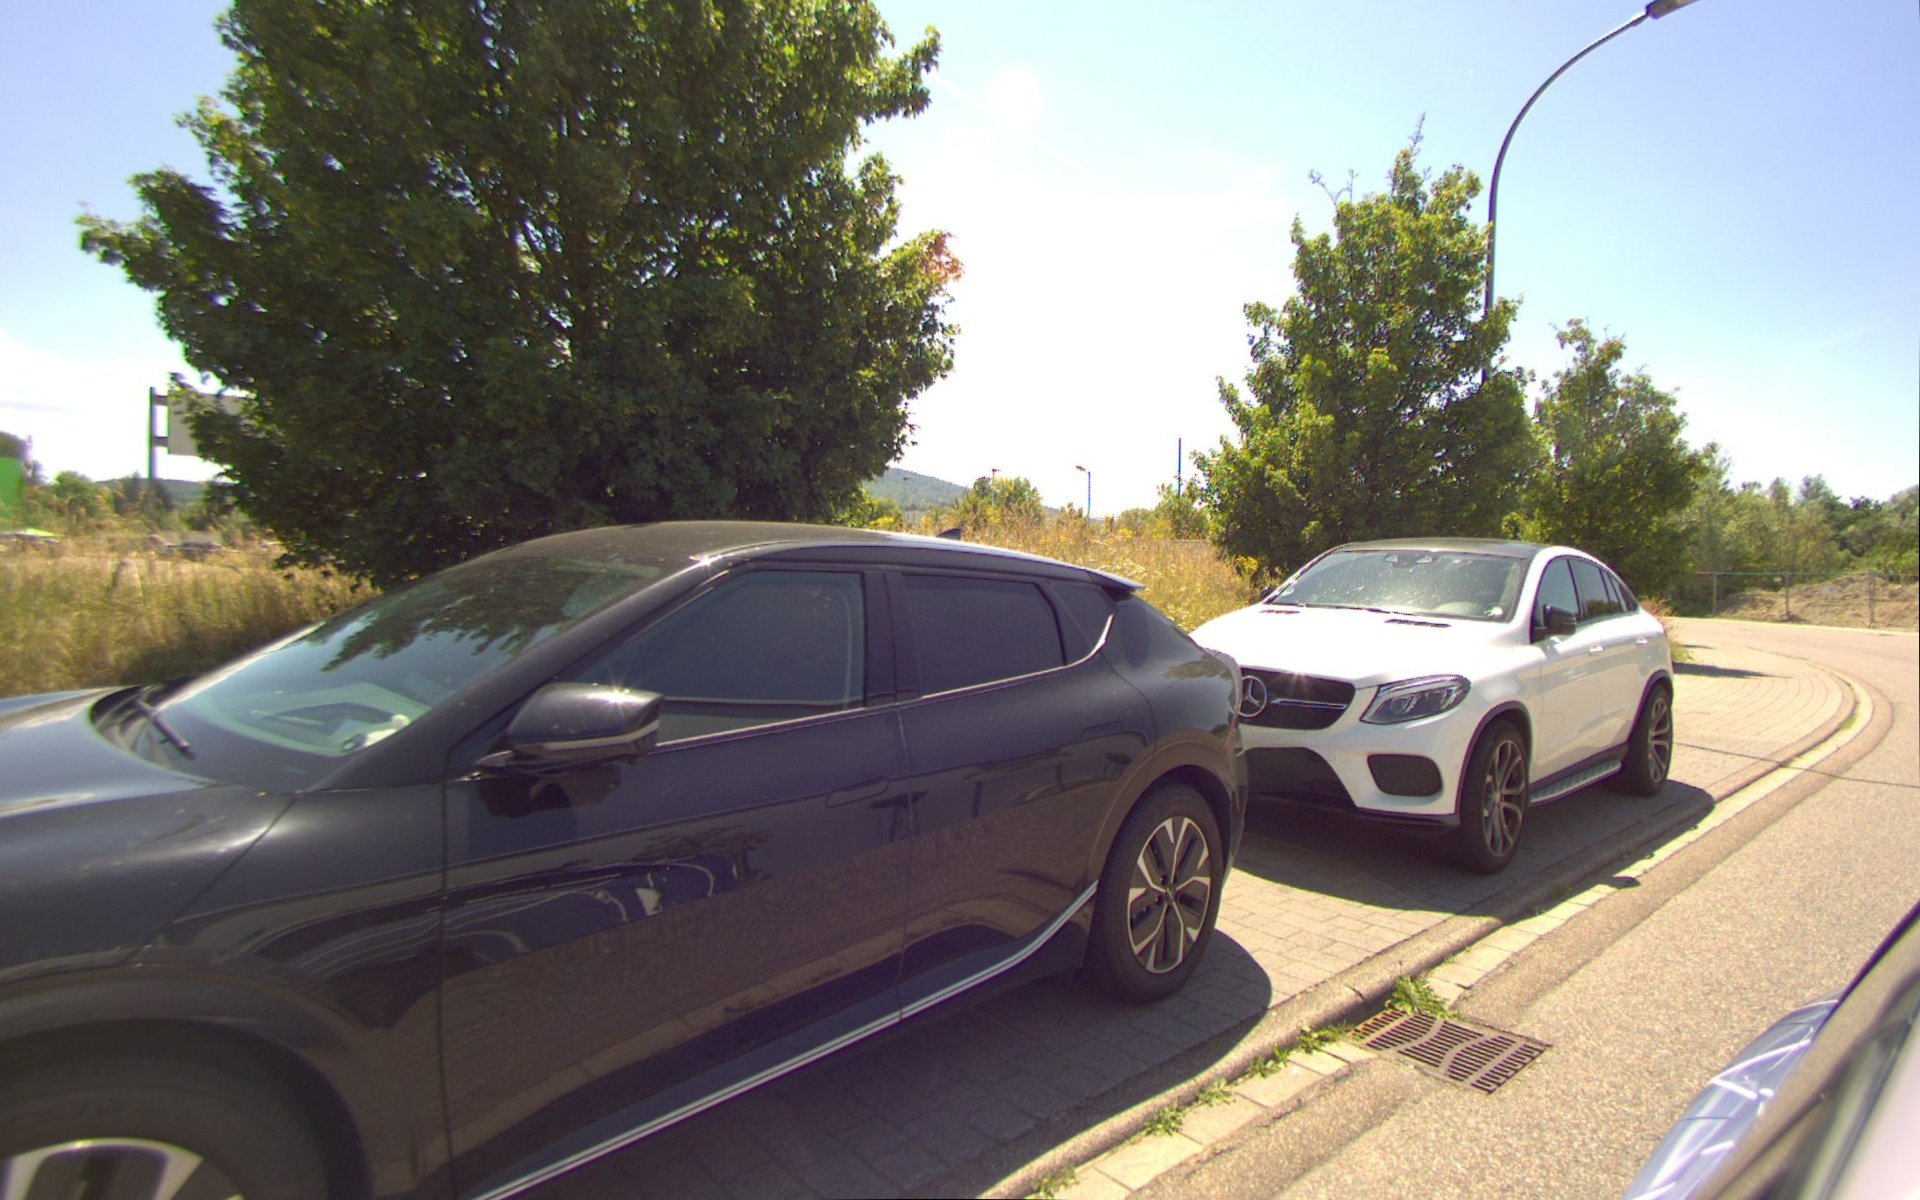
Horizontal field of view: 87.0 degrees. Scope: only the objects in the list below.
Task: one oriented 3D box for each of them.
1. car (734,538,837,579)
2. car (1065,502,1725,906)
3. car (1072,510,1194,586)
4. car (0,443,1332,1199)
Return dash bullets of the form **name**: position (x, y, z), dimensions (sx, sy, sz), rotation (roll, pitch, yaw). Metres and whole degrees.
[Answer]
- **car**: position (-8.025, -1.945, 46.743), dimensions (4.326, 1.808, 1.997), rotation (-2, 4, -42)
- **car**: position (3.096, 0.351, 6.658), dimensions (4.703, 1.719, 2.148), rotation (-1, 4, -42)
- **car**: position (6.742, -1.998, 39.190), dimensions (4.664, 2.776, 2.000), rotation (-1, 3, -37)
- **car**: position (-0.844, 0.491, 3.030), dimensions (1.905, 1.547, 4.555), rotation (5, 4, 45)
